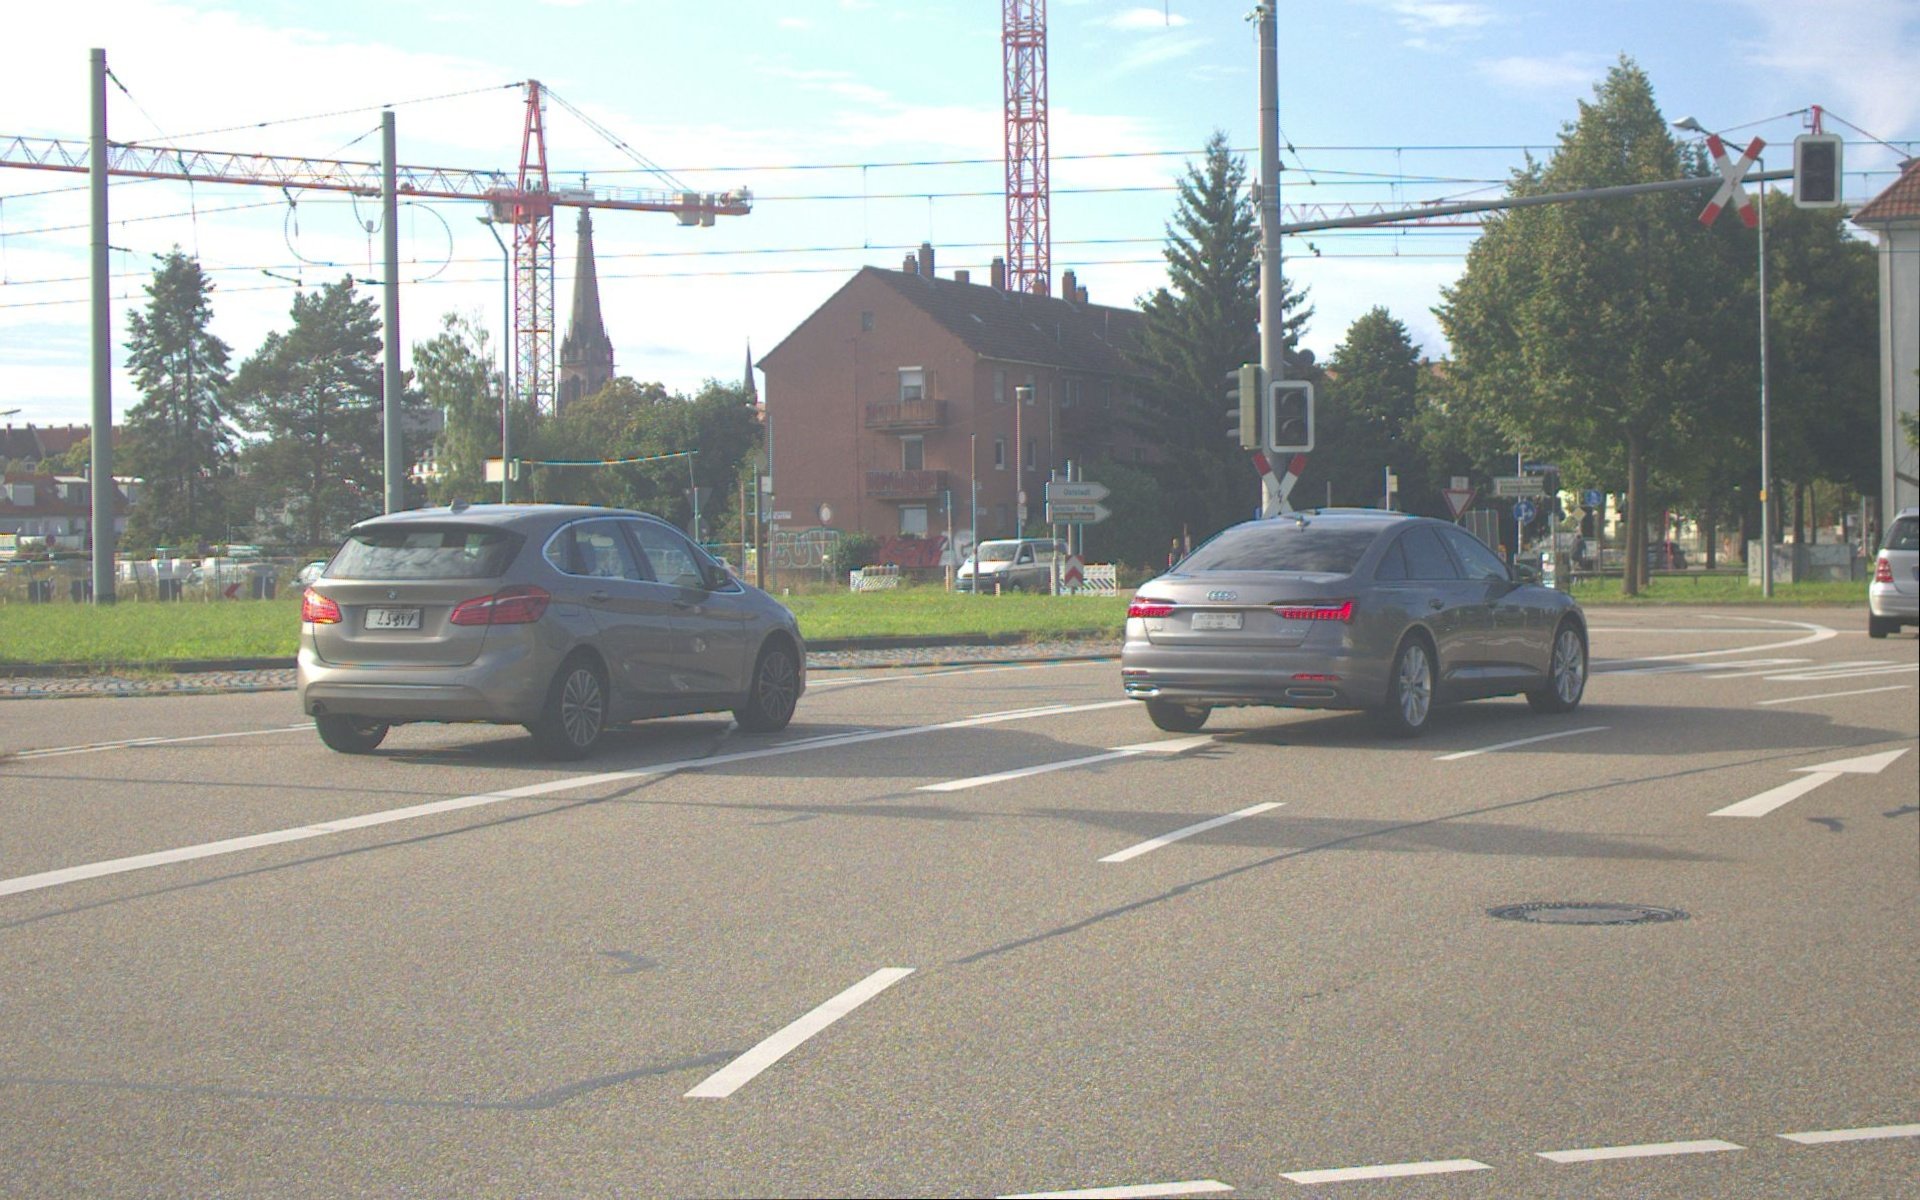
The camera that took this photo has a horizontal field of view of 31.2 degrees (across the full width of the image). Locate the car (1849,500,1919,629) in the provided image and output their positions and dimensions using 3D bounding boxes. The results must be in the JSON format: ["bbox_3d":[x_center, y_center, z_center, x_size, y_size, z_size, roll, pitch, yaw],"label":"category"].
[{"bbox_3d":[12.047,-0.426,41.506,1.853,1.473,4.449,1,1,23],"label":"car"}]

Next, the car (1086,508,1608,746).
[{"bbox_3d":[2.807,0.101,23.896,1.854,1.440,4.707,1,2,30],"label":"car"}]

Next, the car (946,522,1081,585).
[{"bbox_3d":[1.673,-1.421,105.980,1.900,1.896,4.652,1,1,35],"label":"car"}]

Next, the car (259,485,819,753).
[{"bbox_3d":[-2.614,0.083,22.330,1.770,1.567,4.062,1,1,24],"label":"car"}]
